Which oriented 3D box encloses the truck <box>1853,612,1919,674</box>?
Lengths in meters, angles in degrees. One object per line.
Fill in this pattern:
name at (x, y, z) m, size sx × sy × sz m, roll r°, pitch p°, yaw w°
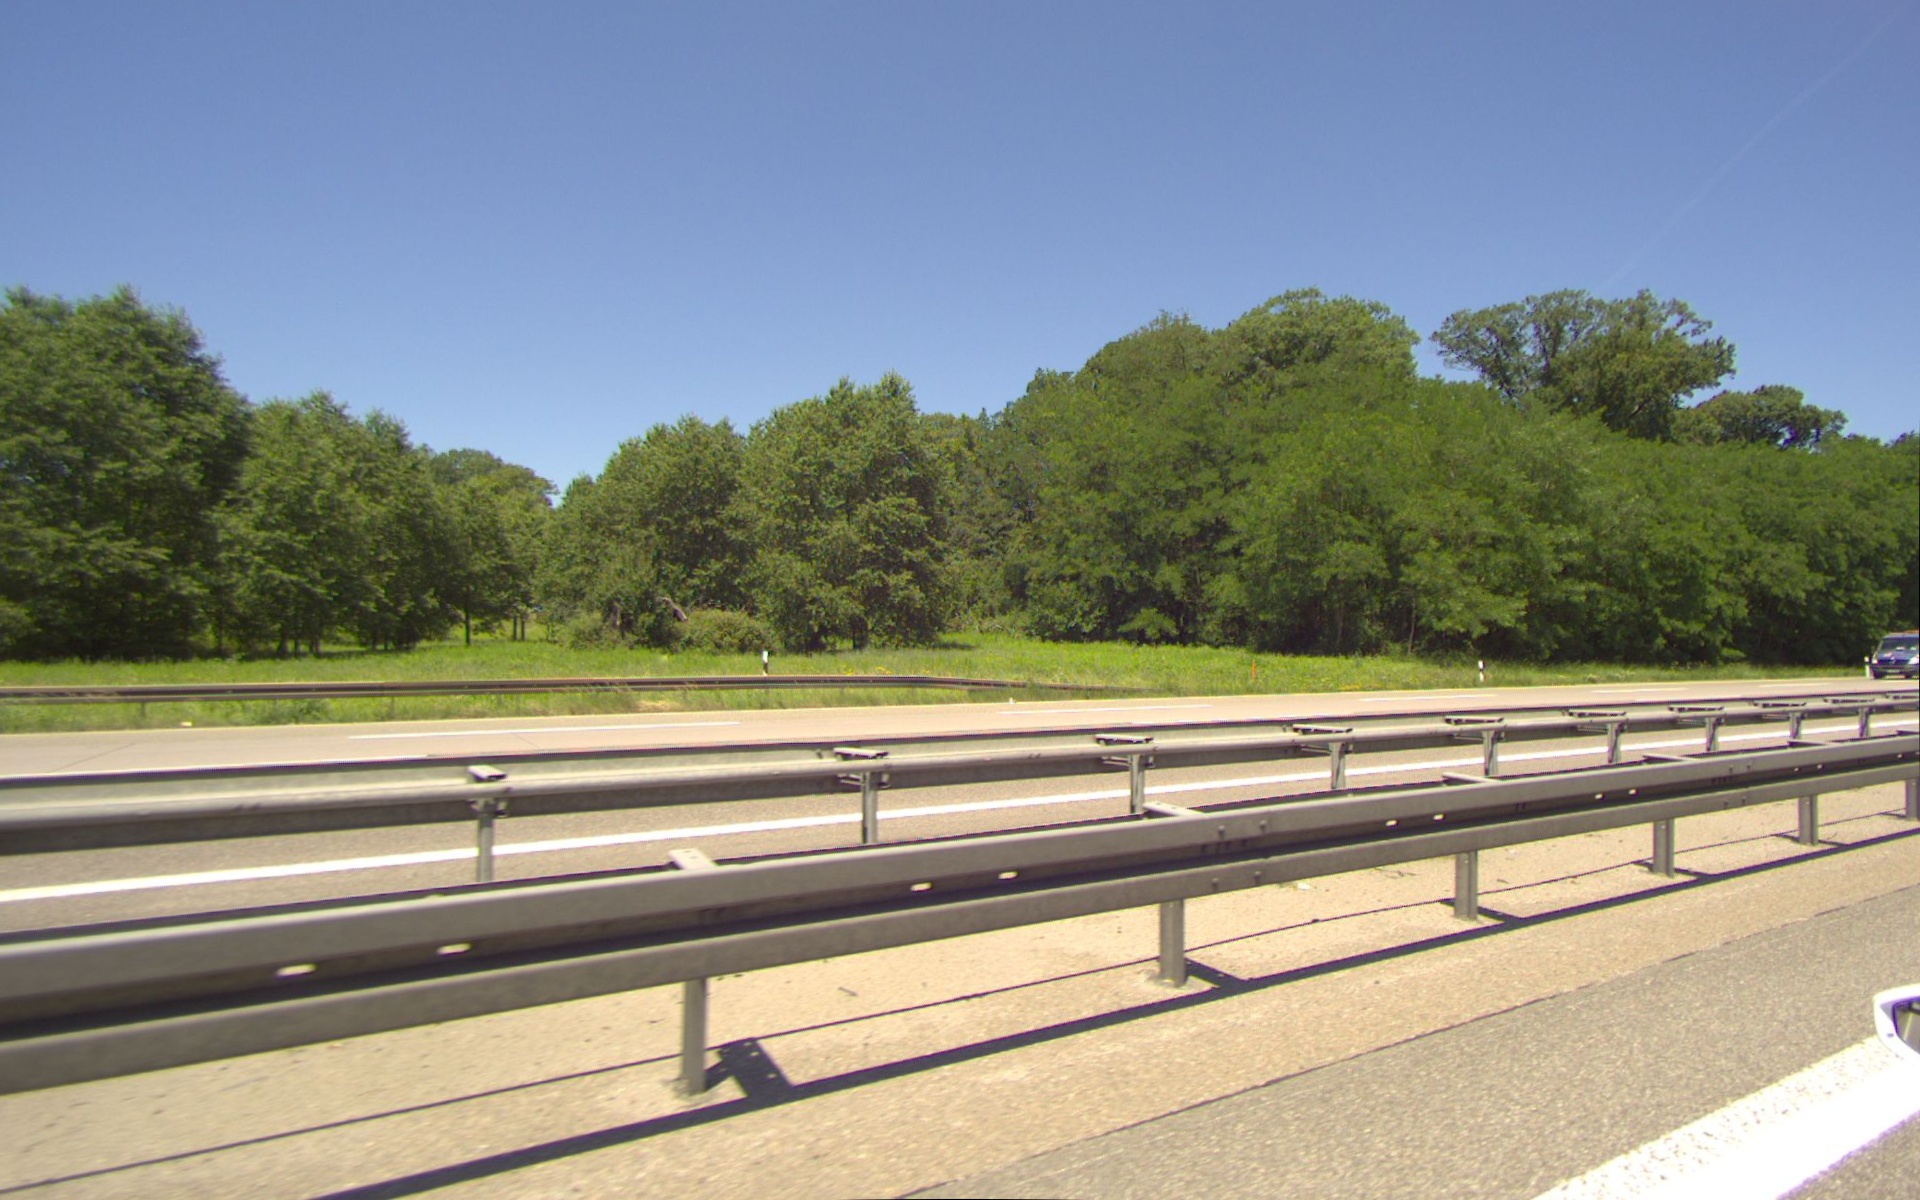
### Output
truck at (51.396, 2.306, 52.922) m, size 12.705 × 3.030 × 2.740 m, roll 2°, pitch -2°, yaw -30°
